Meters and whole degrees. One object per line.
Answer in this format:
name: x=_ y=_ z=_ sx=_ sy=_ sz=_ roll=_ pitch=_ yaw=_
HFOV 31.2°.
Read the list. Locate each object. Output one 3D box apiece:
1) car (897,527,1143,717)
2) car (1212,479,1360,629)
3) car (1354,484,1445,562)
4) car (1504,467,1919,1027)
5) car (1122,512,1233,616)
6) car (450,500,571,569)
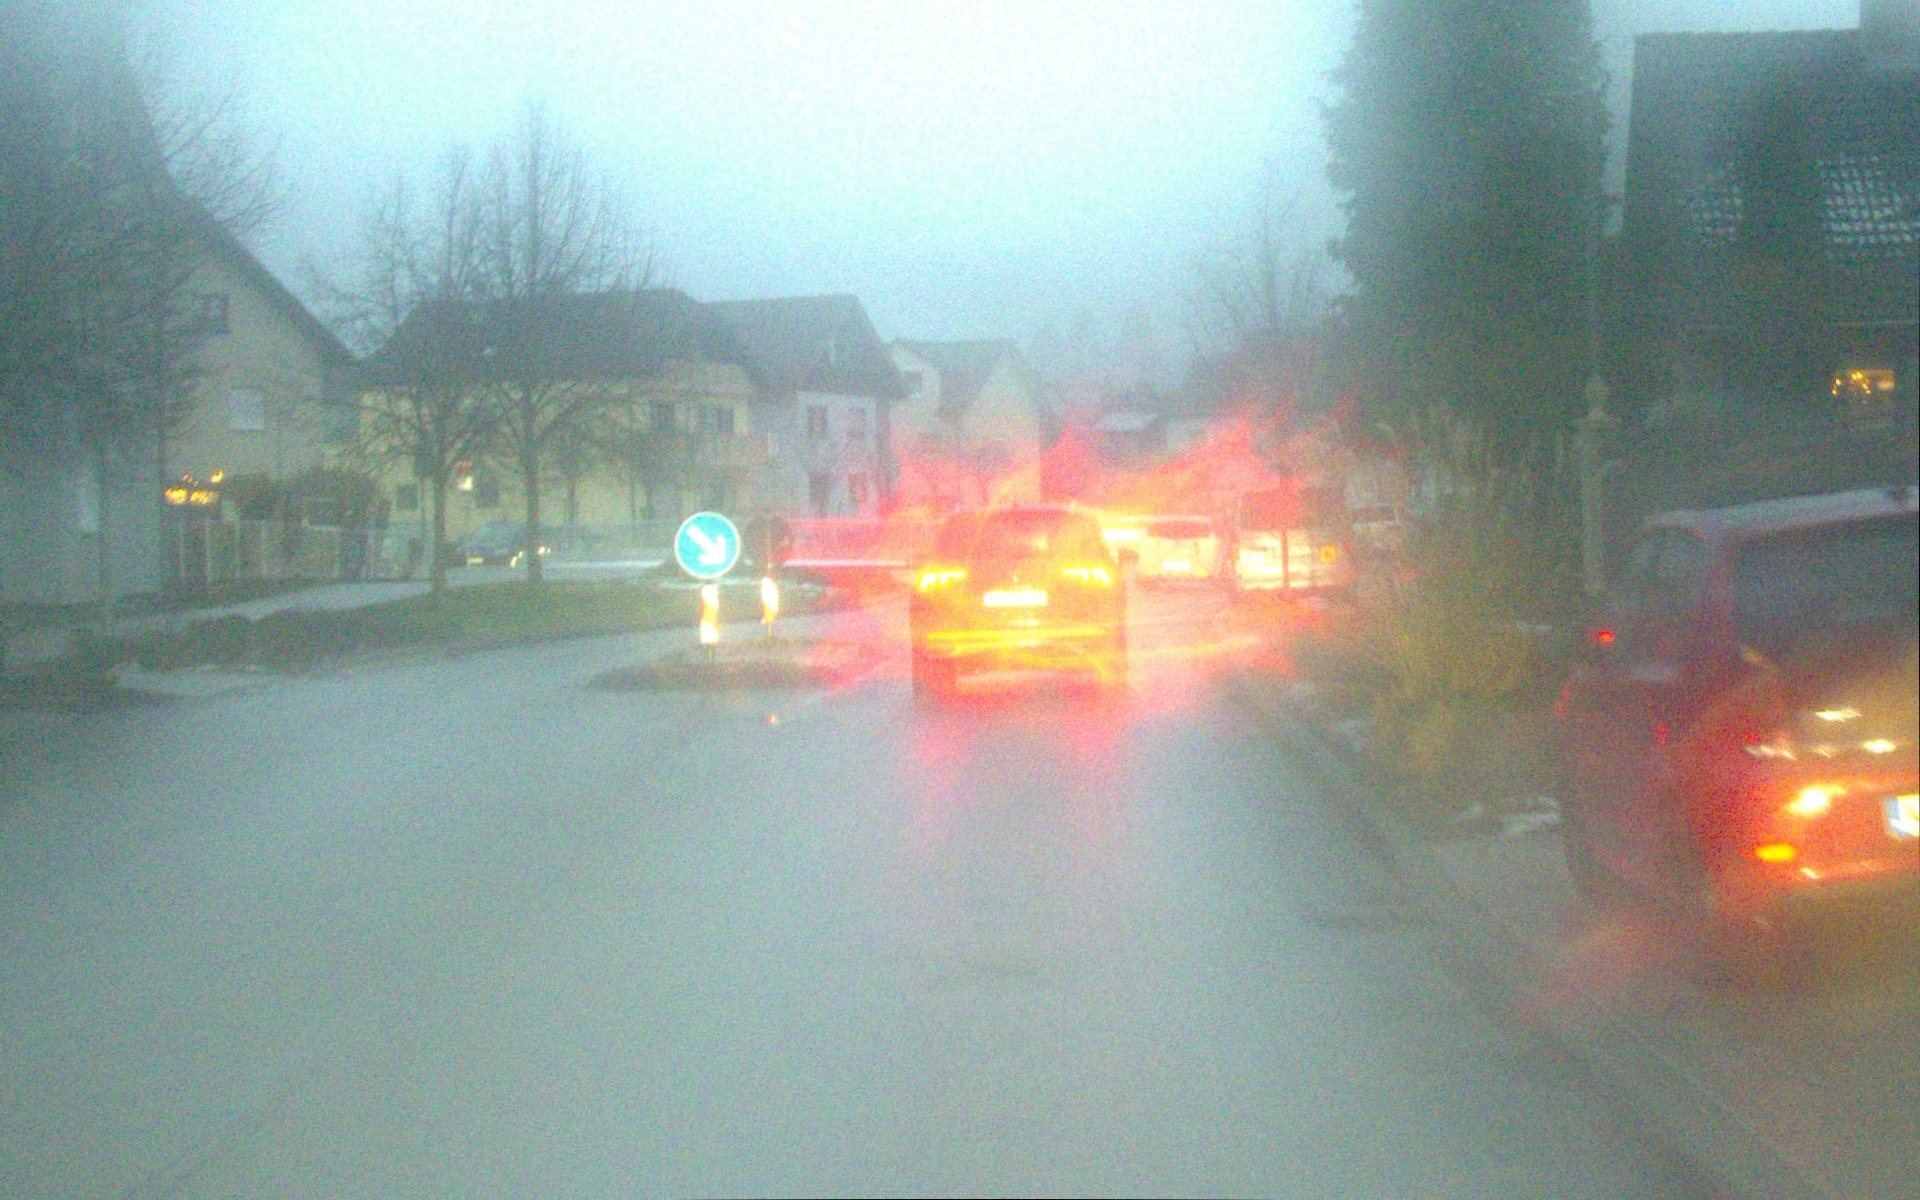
car: x=0.506 y=0.136 z=30.067 sx=1.993 sy=1.520 sz=4.000 roll=-1 pitch=1 yaw=0
car: x=4.856 y=-0.747 z=51.691 sx=1.978 sy=2.006 sz=5.745 roll=-3 pitch=2 yaw=5
car: x=10.994 y=-1.944 z=85.809 sx=1.746 sy=1.779 sz=4.334 roll=-3 pitch=2 yaw=13
car: x=2.926 y=0.357 z=11.516 sx=1.649 sy=1.534 sz=3.390 roll=-5 pitch=1 yaw=2
car: x=4.366 y=-0.723 z=68.393 sx=1.994 sy=2.007 sz=3.999 roll=0 pitch=1 yaw=6
car: x=-13.500 y=-1.998 z=103.454 sx=1.995 sy=2.006 sz=3.996 roll=1 pitch=2 yaw=20
